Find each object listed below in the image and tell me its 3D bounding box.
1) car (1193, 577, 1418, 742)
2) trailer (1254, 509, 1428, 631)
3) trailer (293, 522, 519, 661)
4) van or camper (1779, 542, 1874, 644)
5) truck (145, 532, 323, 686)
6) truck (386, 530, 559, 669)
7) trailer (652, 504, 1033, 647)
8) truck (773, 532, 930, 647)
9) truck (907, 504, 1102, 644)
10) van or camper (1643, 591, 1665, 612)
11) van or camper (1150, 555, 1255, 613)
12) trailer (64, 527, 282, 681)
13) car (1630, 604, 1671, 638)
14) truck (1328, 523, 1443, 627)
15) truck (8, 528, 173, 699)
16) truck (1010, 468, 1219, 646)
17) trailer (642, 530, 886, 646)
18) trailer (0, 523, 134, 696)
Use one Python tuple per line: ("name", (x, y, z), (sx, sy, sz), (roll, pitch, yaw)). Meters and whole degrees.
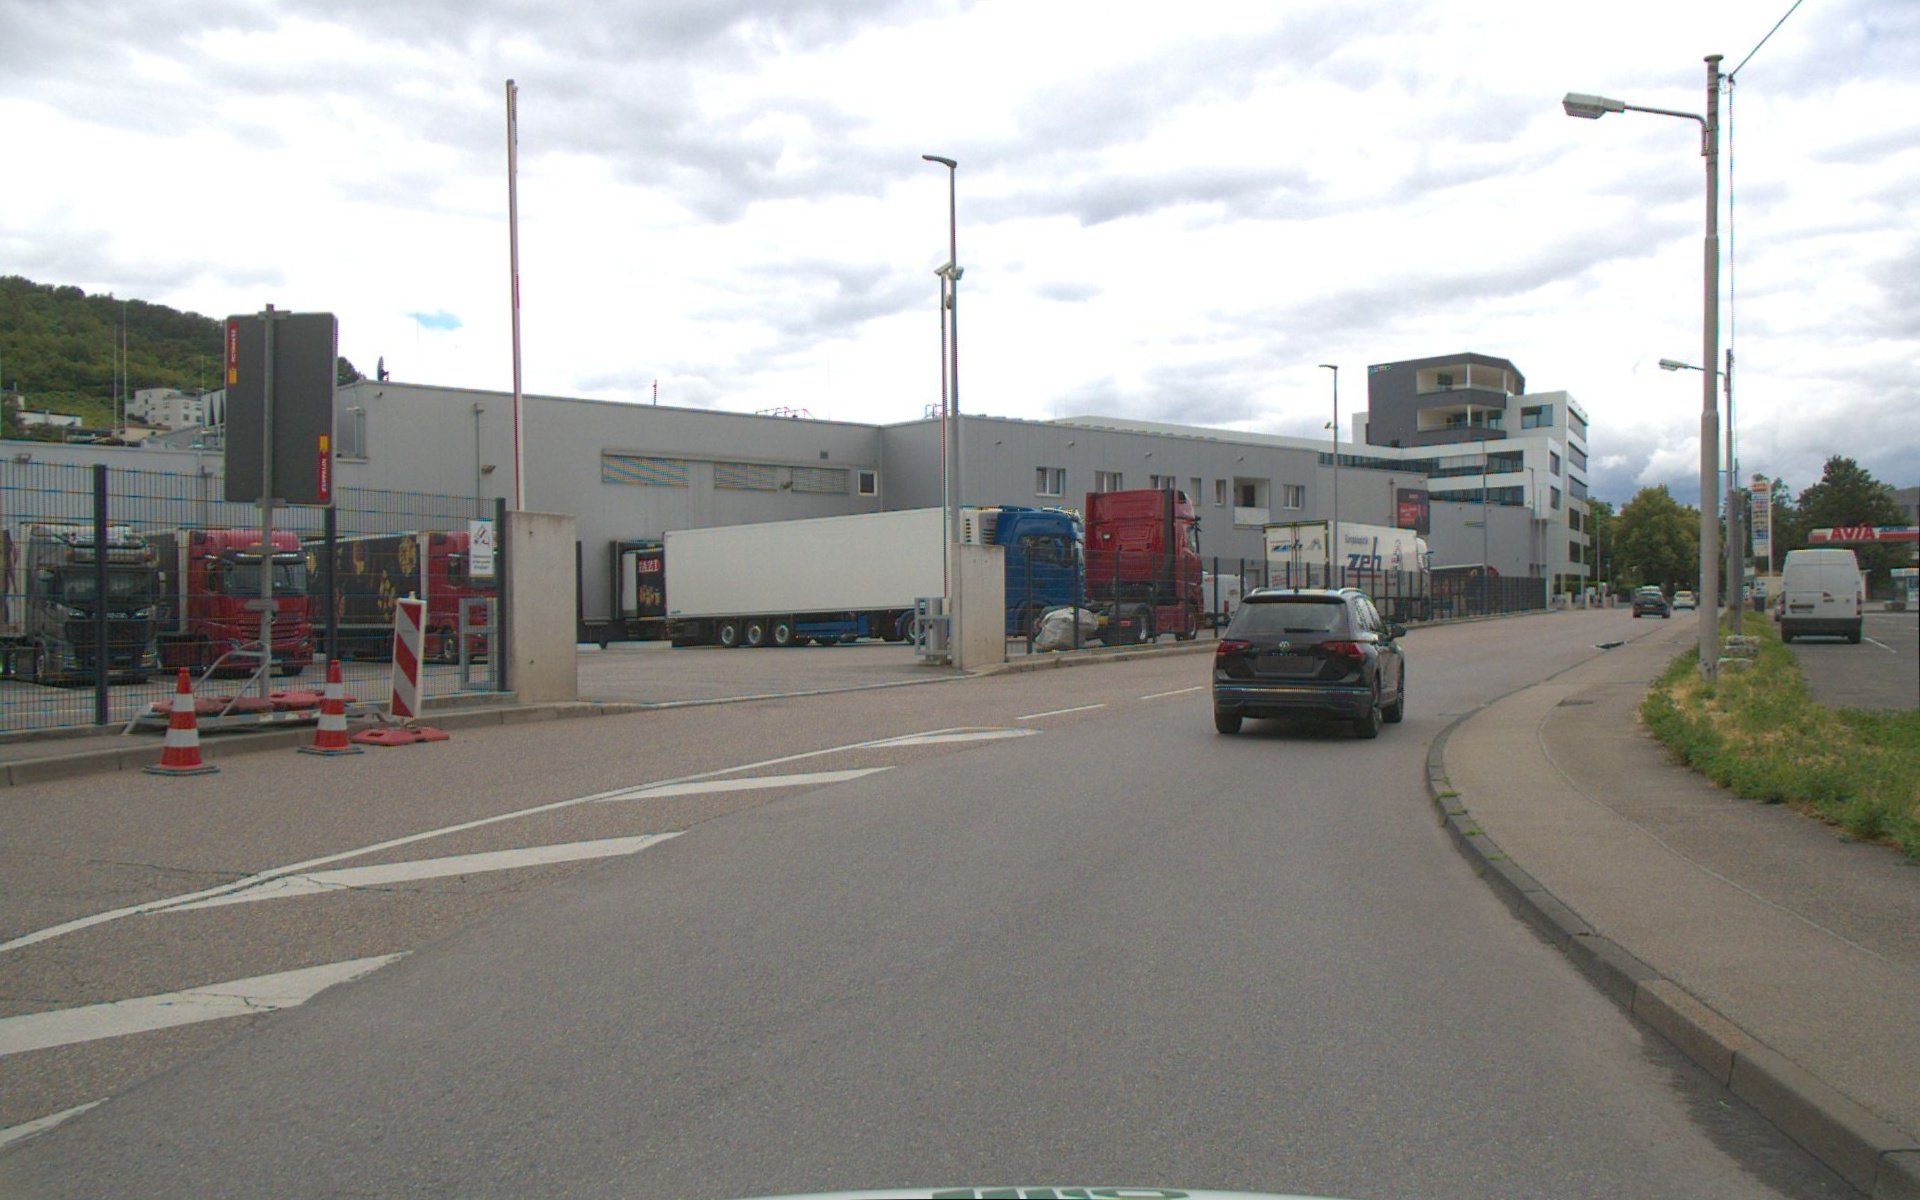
("car", (4.205, 0.624, 19.588), (1.952, 1.713, 4.372), (-1, 0, 21))
("trailer", (16.055, -1.103, 68.431), (3.074, 4.335, 13.997), (-5, -3, 28))
("trailer", (-18.360, -0.174, 54.227), (2.770, 4.149, 10.820), (0, -1, -43))
("van or camper", (24.537, -0.171, 46.942), (2.212, 2.694, 6.107), (-1, 0, 27))
("truck", (-20.154, 0.270, 45.760), (2.780, 3.997, 5.831), (0, -1, -43))
("truck", (-14.946, 0.024, 50.516), (2.780, 3.997, 5.831), (0, -1, -43))
("trailer", (-4.188, -0.657, 54.323), (13.735, 4.257, 3.025), (-1, -1, 36))
("truck", (-4.074, -0.346, 61.048), (2.778, 3.997, 5.834), (0, 0, -42))
("truck", (1.396, -0.736, 50.502), (5.477, 4.091, 2.934), (-1, -1, 12))
("van or camper", (76.508, 0.150, 182.289), (1.954, 2.296, 3.996), (-1, 0, 26))
("van or camper", (12.058, -0.760, 82.501), (2.089, 2.811, 4.906), (0, -1, -44))
("trailer", (-23.803, 0.184, 49.606), (2.770, 4.149, 10.820), (0, -1, -43))
("car", (39.649, 1.185, 94.919), (1.954, 1.780, 3.998), (-1, 1, 25))
("truck", (19.156, -1.059, 74.184), (3.069, 4.189, 6.930), (-5, -3, 29))
("truck", (-22.172, 0.347, 42.121), (2.780, 4.111, 4.099), (0, -1, -43))
("truck", (4.049, -0.976, 41.699), (2.865, 4.091, 6.933), (-1, 0, 27))
("trailer", (-8.065, -0.371, 65.599), (2.760, 4.180, 12.892), (0, 0, -41))
("trailer", (-26.666, 0.312, 46.936), (2.770, 4.376, 11.003), (0, -1, -43))
